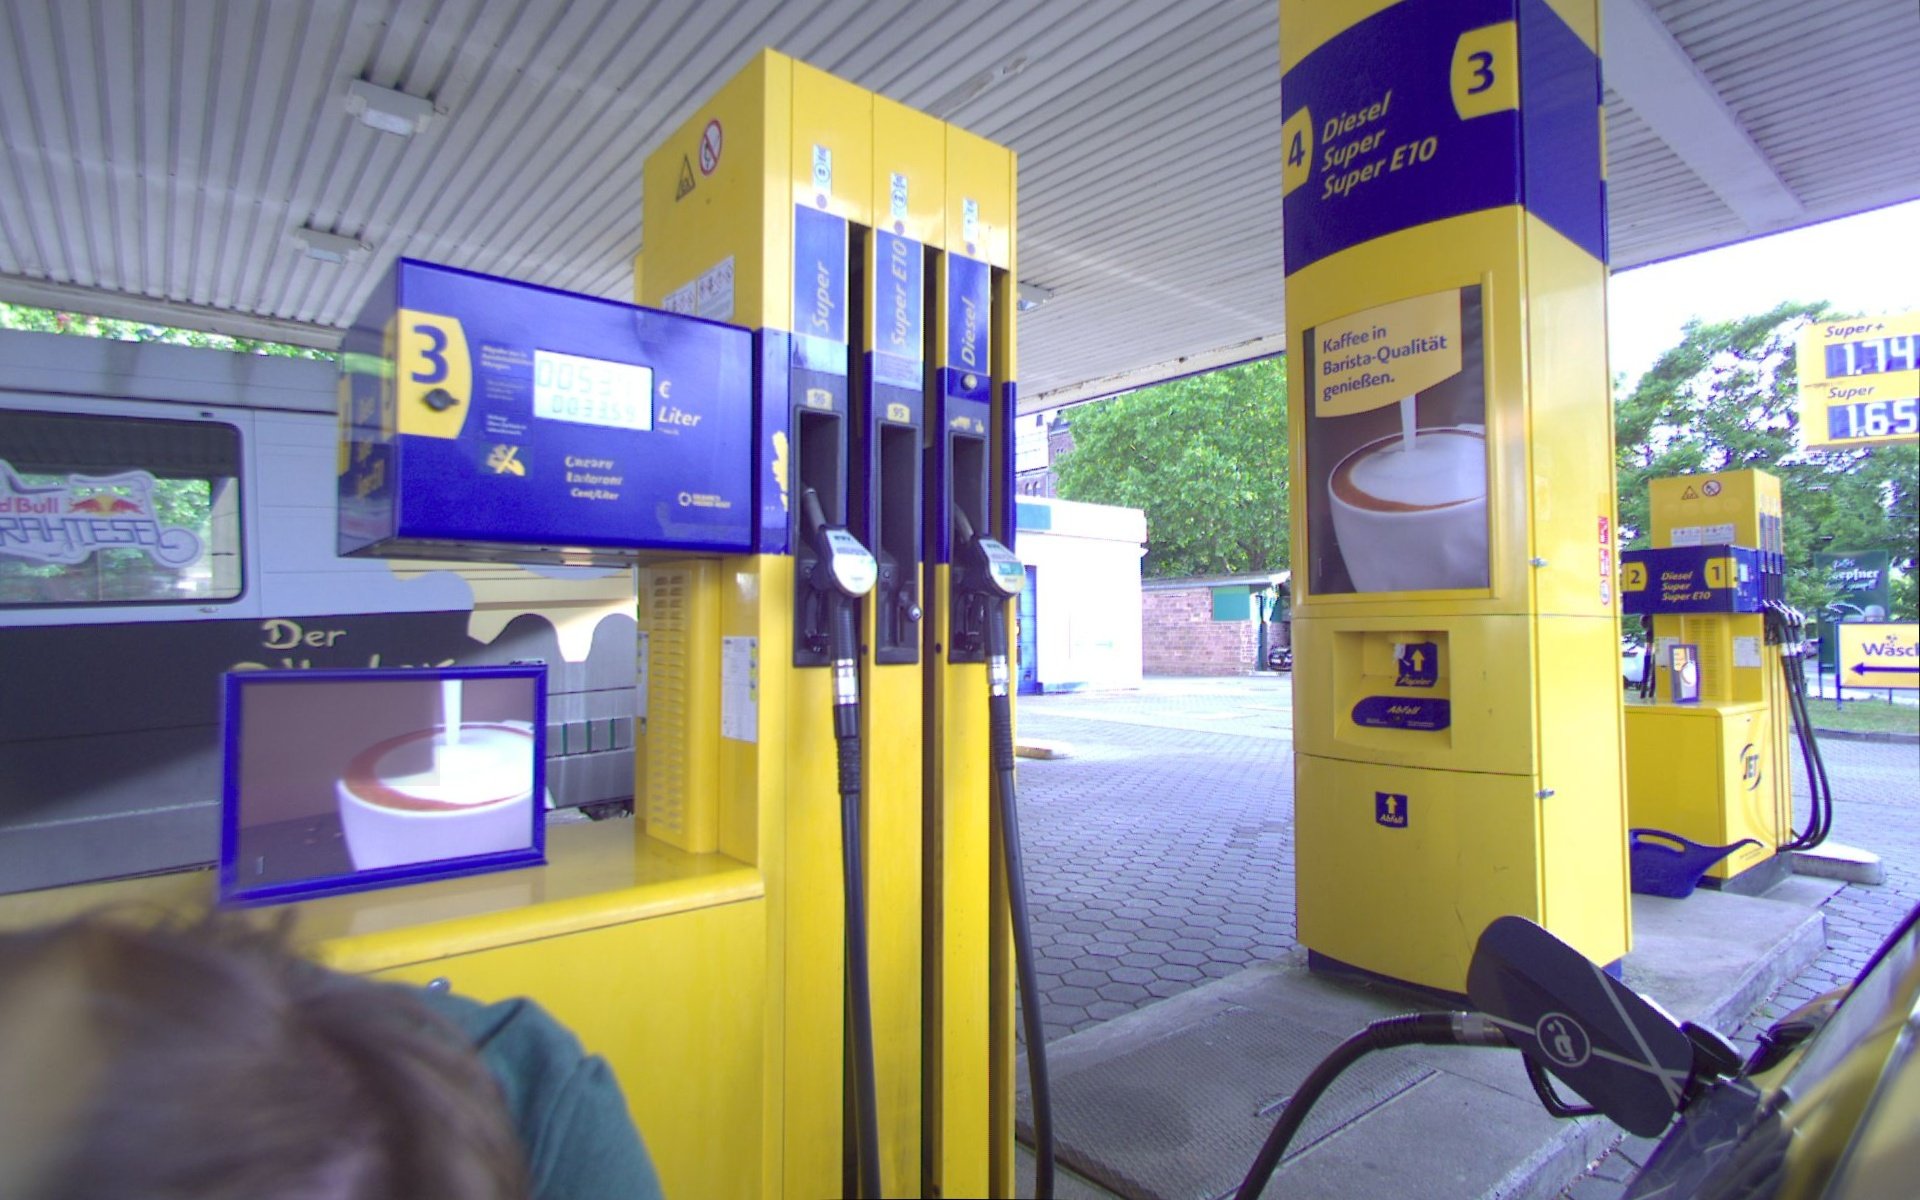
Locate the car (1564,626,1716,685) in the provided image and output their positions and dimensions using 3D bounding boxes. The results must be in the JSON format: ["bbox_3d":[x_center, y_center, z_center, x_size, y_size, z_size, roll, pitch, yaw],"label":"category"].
[{"bbox_3d":[18.253,1.490,27.129,4.112,1.478,1.826,2,-3,-31],"label":"car"}]

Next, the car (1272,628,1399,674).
[{"bbox_3d":[12.641,1.702,34.027,4.112,1.453,1.826,2,-3,-31],"label":"car"}]

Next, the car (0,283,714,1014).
[{"bbox_3d":[-4.099,0.191,4.850,5.248,2.760,2.201,0,-1,-39],"label":"car"}]

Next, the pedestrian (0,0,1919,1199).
[{"bbox_3d":[-0.333,0.525,0.561,0.975,1.750,1.182,-2,1,-36],"label":"pedestrian"}]

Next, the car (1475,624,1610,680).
[{"bbox_3d":[17.769,1.581,30.846,4.112,1.606,1.826,2,-3,-31],"label":"car"}]

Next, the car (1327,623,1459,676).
[{"bbox_3d":[13.780,1.572,32.164,4.112,1.606,1.826,2,-3,-31],"label":"car"}]
